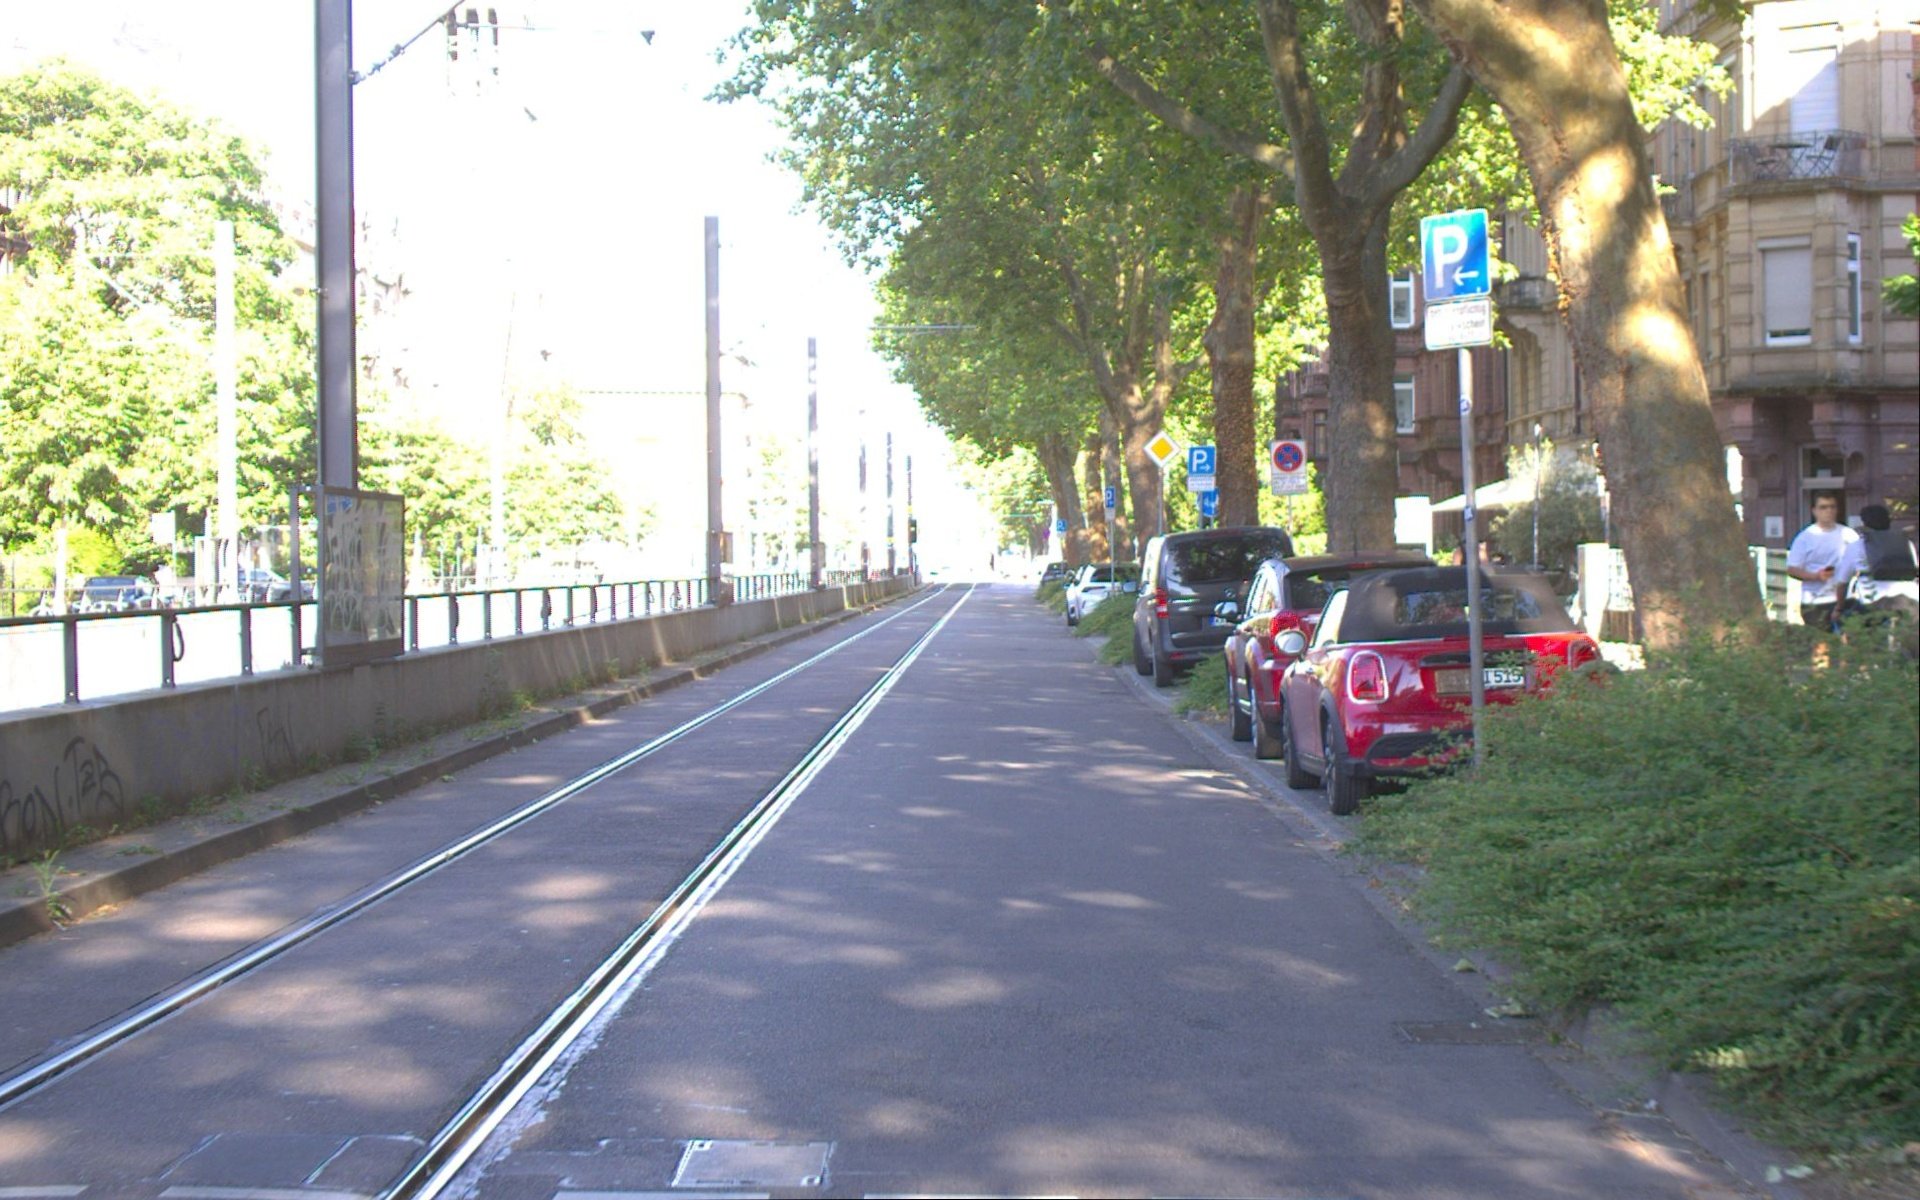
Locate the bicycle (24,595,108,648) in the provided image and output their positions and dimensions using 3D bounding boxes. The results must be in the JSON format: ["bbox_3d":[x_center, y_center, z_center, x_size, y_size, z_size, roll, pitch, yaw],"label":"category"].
[{"bbox_3d":[-21.443,0.513,82.481,1.808,1.174,0.562,3,0,3],"label":"bicycle"}]

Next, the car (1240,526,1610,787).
[{"bbox_3d":[2.820,0.353,21.645,1.714,1.457,4.000,1,-1,-1],"label":"car"}]

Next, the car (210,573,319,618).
[{"bbox_3d":[-26.795,-0.176,132.574,3.986,1.619,1.826,1,0,-8],"label":"car"}]

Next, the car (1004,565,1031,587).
[{"bbox_3d":[4.079,-1.679,243.729,1.745,1.457,3.644,3,0,0],"label":"car"}]

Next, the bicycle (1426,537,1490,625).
[{"bbox_3d":[6.828,-0.249,47.204,0.560,1.174,2.021,1,-1,0],"label":"bicycle"}]

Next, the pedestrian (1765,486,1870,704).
[{"bbox_3d":[7.085,-0.045,28.422,0.688,1.779,0.644,-1,1,-1],"label":"pedestrian"}]

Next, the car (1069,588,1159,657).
[{"bbox_3d":[3.378,0.489,76.049,1.802,1.472,4.646,0,0,0],"label":"car"}]

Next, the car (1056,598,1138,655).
[{"bbox_3d":[3.211,0.610,81.274,1.830,1.322,4.000,0,0,1],"label":"car"}]

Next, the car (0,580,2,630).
[{"bbox_3d":[-16.528,0.394,53.665,1.970,1.499,4.408,3,0,-2],"label":"car"}]

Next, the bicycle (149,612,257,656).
[{"bbox_3d":[-20.632,0.924,93.754,2.777,1.095,0.643,2,0,-32],"label":"bicycle"}]

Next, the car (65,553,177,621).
[{"bbox_3d":[-20.927,-0.326,85.904,1.832,1.579,4.000,3,0,-1],"label":"car"}]

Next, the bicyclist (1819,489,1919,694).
[{"bbox_3d":[6.246,-0.065,23.543,0.543,1.376,0.644,-1,1,-1],"label":"bicyclist"}]

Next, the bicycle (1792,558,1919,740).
[{"bbox_3d":[6.263,0.306,23.545,0.560,1.174,2.226,-1,1,-1],"label":"bicycle"}]

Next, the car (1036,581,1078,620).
[{"bbox_3d":[4.089,0.019,145.772,1.616,1.582,4.417,-1,0,0],"label":"car"}]

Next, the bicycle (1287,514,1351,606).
[{"bbox_3d":[4.930,-0.541,47.311,0.560,1.174,2.226,4,-1,0],"label":"bicycle"}]

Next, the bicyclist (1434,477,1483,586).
[{"bbox_3d":[6.823,-0.934,47.071,0.569,1.482,0.644,0,0,0],"label":"bicyclist"}]

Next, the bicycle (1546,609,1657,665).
[{"bbox_3d":[10.534,0.604,56.445,1.690,0.914,0.603,0,0,-10],"label":"bicycle"}]

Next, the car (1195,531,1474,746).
[{"bbox_3d":[2.903,0.307,27.488,1.714,1.544,4.500,-1,-1,0],"label":"car"}]

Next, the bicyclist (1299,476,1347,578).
[{"bbox_3d":[4.974,-0.993,47.074,0.569,1.376,0.644,-1,-1,0],"label":"bicyclist"}]

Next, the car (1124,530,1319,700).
[{"bbox_3d":[3.249,0.157,43.724,1.993,2.007,5.202,-1,1,-1],"label":"car"}]

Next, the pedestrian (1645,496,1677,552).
[{"bbox_3d":[14.335,-1.546,70.289,0.556,1.134,0.526,0,0,0],"label":"pedestrian"}]
